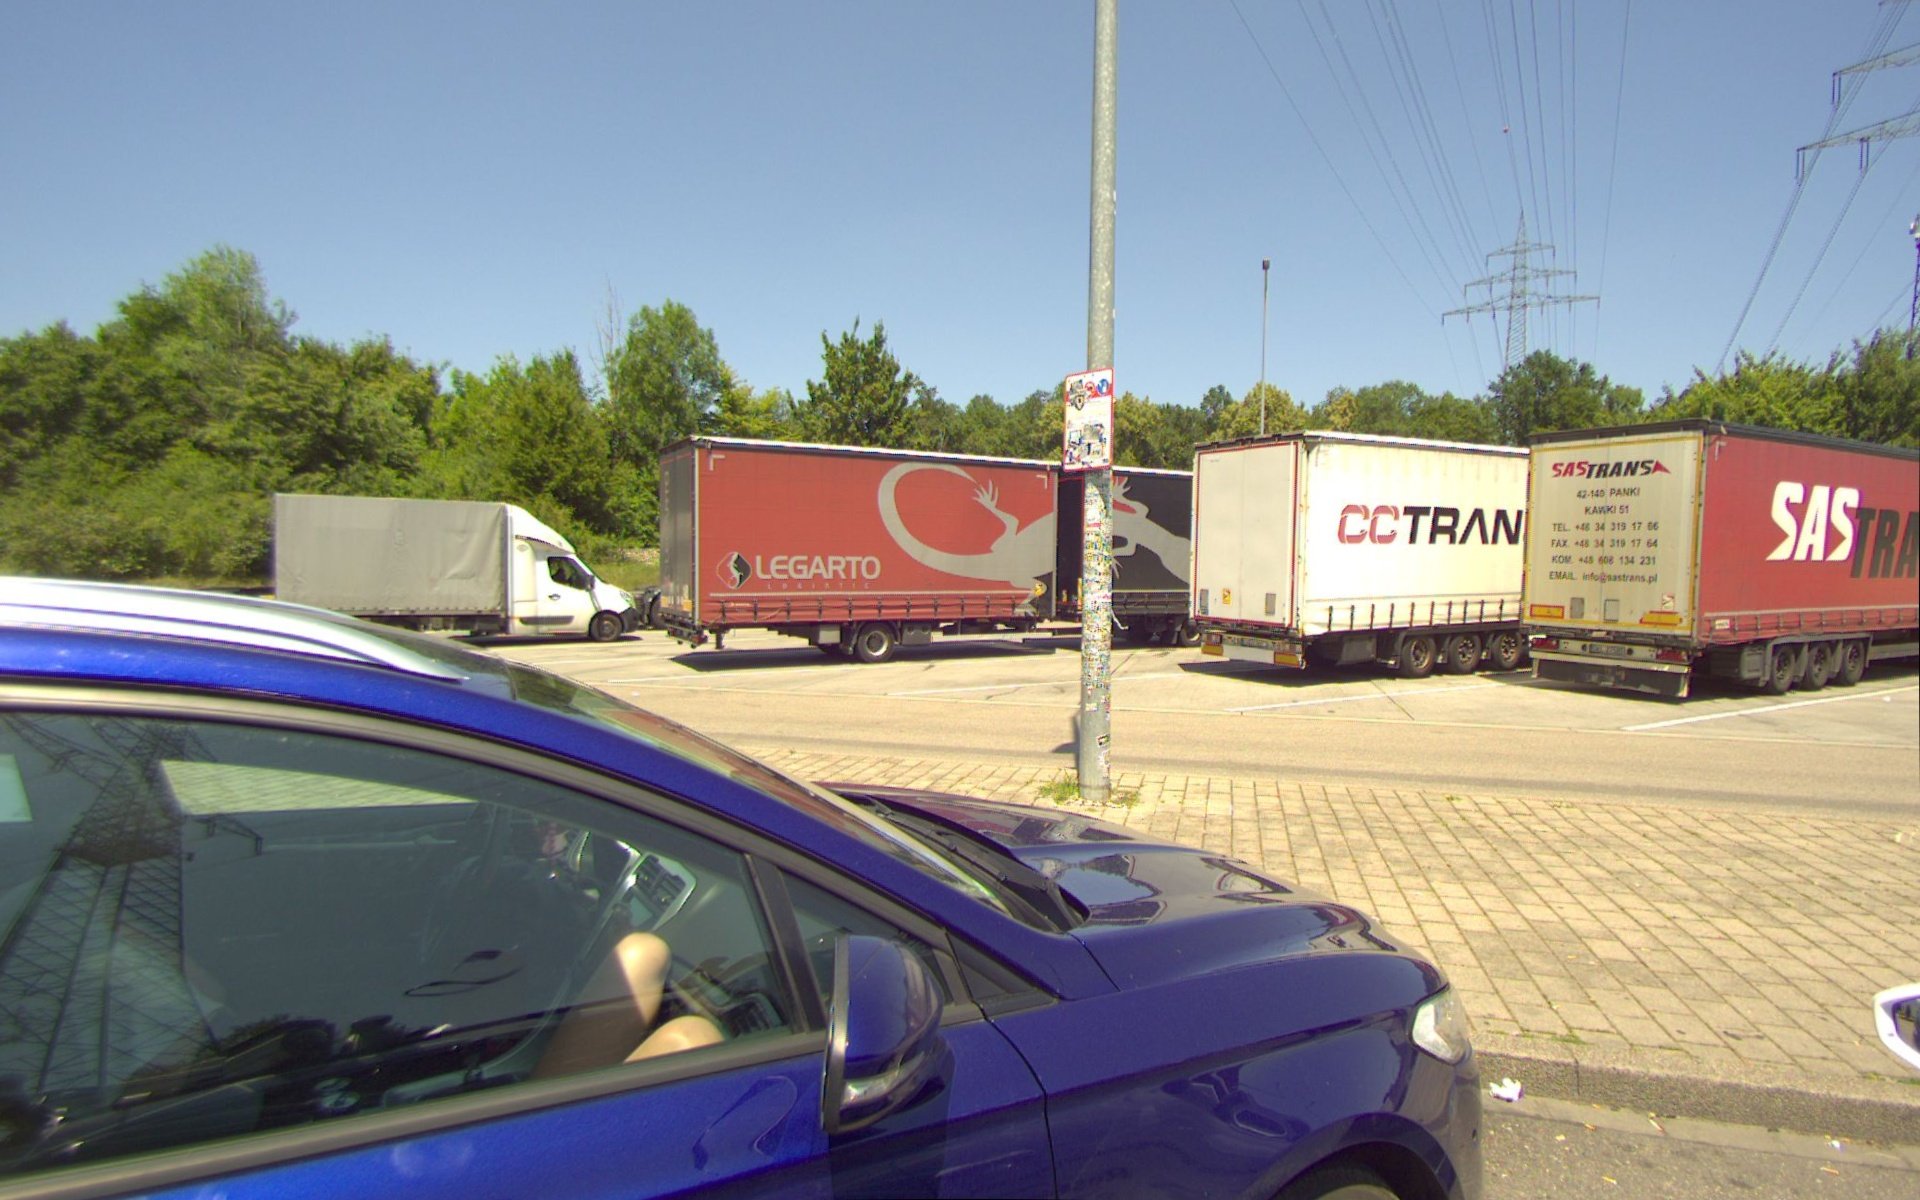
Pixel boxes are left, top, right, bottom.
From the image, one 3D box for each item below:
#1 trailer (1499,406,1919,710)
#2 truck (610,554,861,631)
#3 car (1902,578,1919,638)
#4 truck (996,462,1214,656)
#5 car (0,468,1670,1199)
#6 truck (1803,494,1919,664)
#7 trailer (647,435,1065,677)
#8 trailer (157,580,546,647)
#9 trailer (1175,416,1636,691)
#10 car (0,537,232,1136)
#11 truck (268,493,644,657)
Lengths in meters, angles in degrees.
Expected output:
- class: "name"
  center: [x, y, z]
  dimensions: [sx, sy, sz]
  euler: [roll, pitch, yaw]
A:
- class: "trailer"
  center: [15.409, -0.724, 18.572]
  dimensions: [13.559, 4.189, 2.892]
  euler: [-1, 3, -30]
- class: "truck"
  center: [-6.480, -0.193, 29.533]
  dimensions: [6.961, 2.040, 1.984]
  euler: [0, 0, -30]
- class: "car"
  center: [30.218, 0.314, 28.686]
  dimensions: [4.423, 1.731, 1.786]
  euler: [2, 3, 19]
- class: "truck"
  center: [3.359, -0.929, 23.368]
  dimensions: [4.273, 4.072, 2.689]
  euler: [-1, 3, -30]
- class: "car"
  center: [-0.975, 0.658, 1.479]
  dimensions: [4.592, 1.502, 1.727]
  euler: [0, 0, -33]
- class: "truck"
  center: [21.730, -0.458, 22.317]
  dimensions: [5.418, 3.475, 2.838]
  euler: [-1, 3, -30]
- class: "trailer"
  center: [-1.923, -0.850, 20.274]
  dimensions: [7.996, 4.101, 2.696]
  euler: [-1, 3, -30]
- class: "trailer"
  center: [-14.828, 0.236, 25.193]
  dimensions: [7.996, 1.394, 2.211]
  euler: [-1, 3, -30]
- class: "trailer"
  center: [8.870, -0.841, 19.336]
  dimensions: [10.049, 4.268, 2.714]
  euler: [-1, 3, -30]
- class: "car"
  center: [-4.548, 0.585, 2.263]
  dimensions: [4.592, 1.554, 1.726]
  euler: [0, 1, -33]
- class: "truck"
  center: [-11.199, -0.594, 22.909]
  dimensions: [7.254, 3.254, 2.515]
  euler: [-1, 3, -30]
